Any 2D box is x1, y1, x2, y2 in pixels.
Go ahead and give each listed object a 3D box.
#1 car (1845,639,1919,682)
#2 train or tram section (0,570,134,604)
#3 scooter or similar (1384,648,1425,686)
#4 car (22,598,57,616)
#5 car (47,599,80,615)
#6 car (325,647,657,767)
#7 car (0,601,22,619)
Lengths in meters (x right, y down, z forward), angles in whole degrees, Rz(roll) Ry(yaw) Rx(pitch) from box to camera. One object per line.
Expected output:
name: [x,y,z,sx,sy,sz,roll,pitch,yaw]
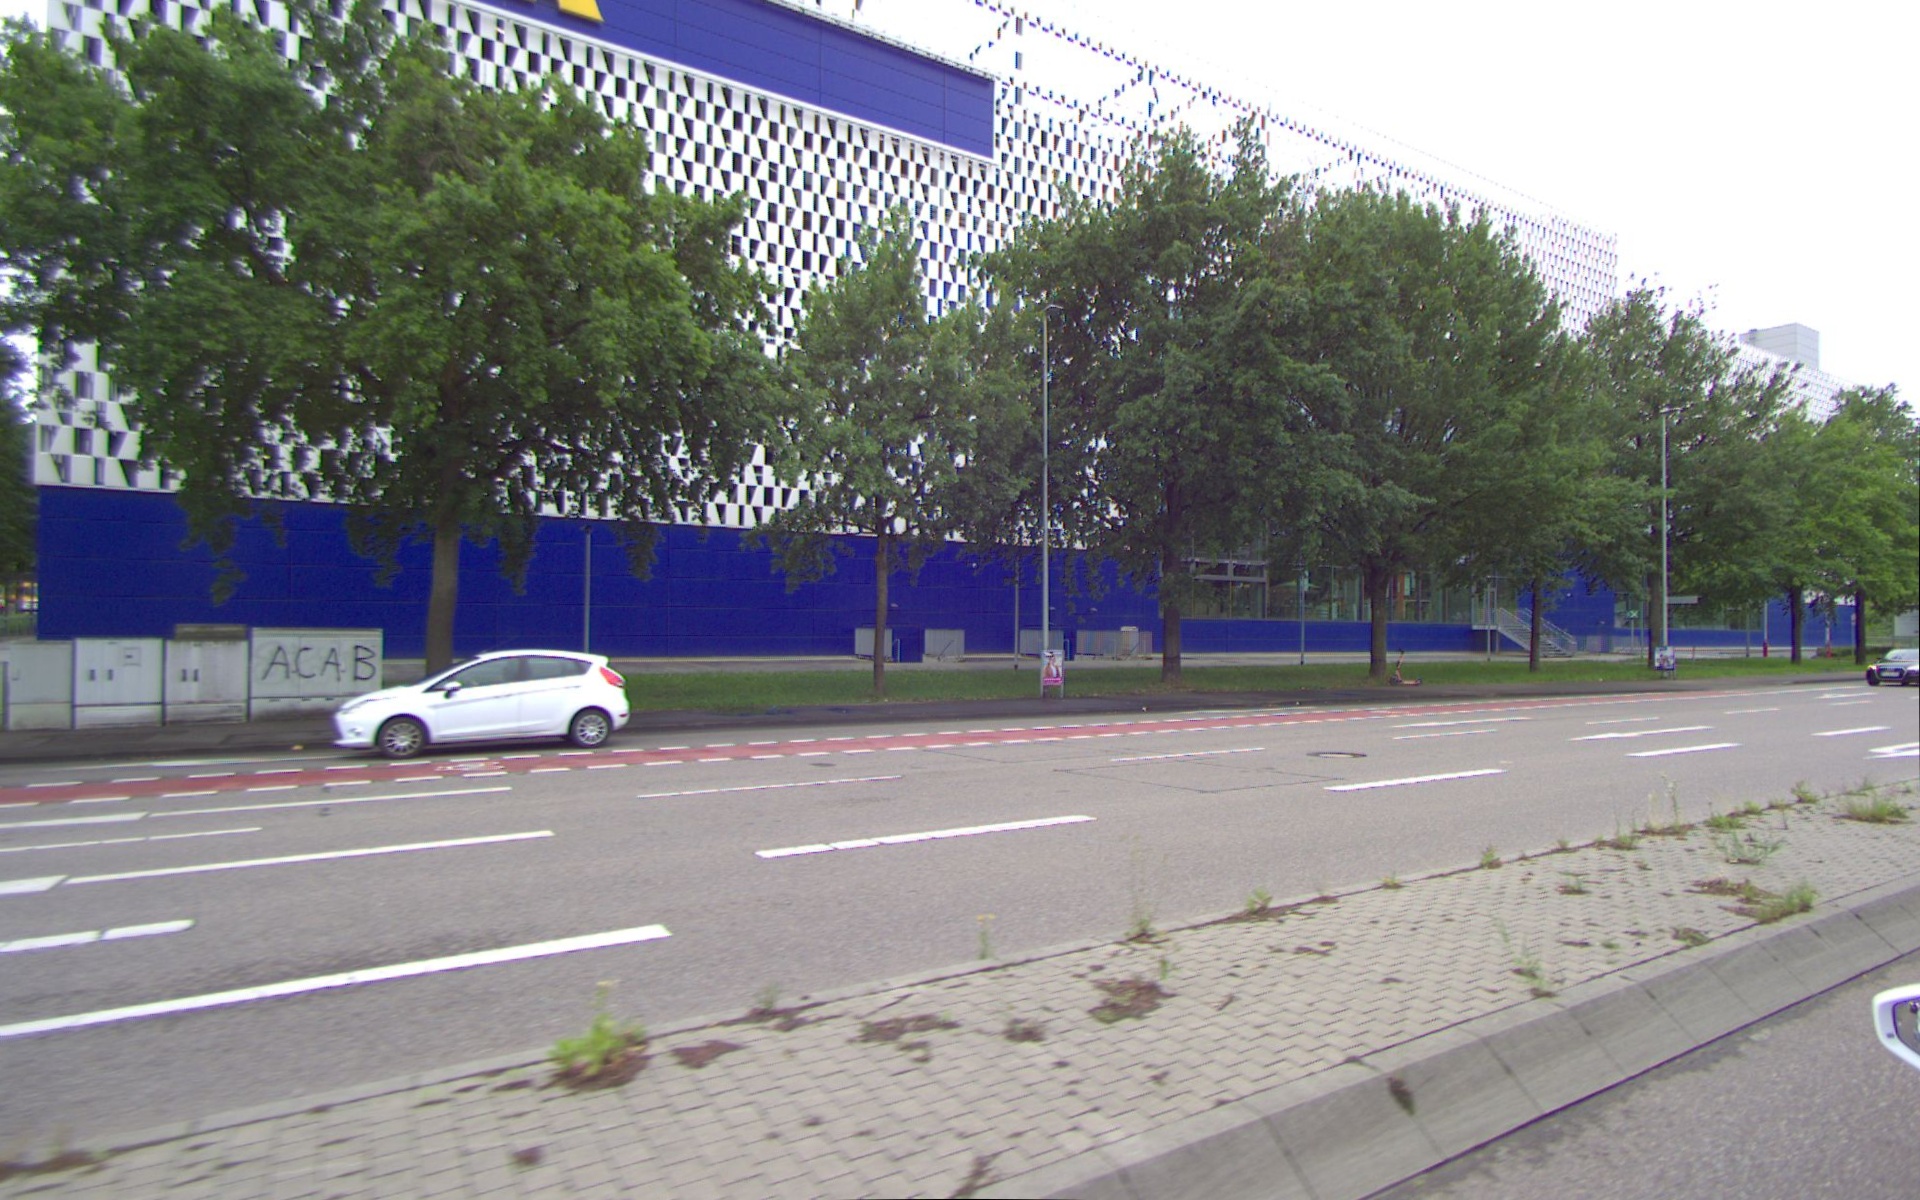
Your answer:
car: [34.843,2.226,36.913,4.194,1.521,1.913,2,-4,-25]
train or tram section: [-136.070,-1.852,147.103,23.020,4.903,3.602,0,0,-31]
scooter or similar: [15.023,2.251,33.940,1.363,1.212,0.651,1,0,-34]
car: [-106.528,0.832,116.314,1.823,1.911,3.901,2,-1,-24]
car: [-109.028,0.875,122.197,1.823,1.911,3.901,0,-1,-25]
car: [-6.926,1.477,14.985,4.285,1.481,1.847,1,-3,-33]
car: [-100.882,1.044,105.924,1.827,1.677,4.327,3,-1,-29]
